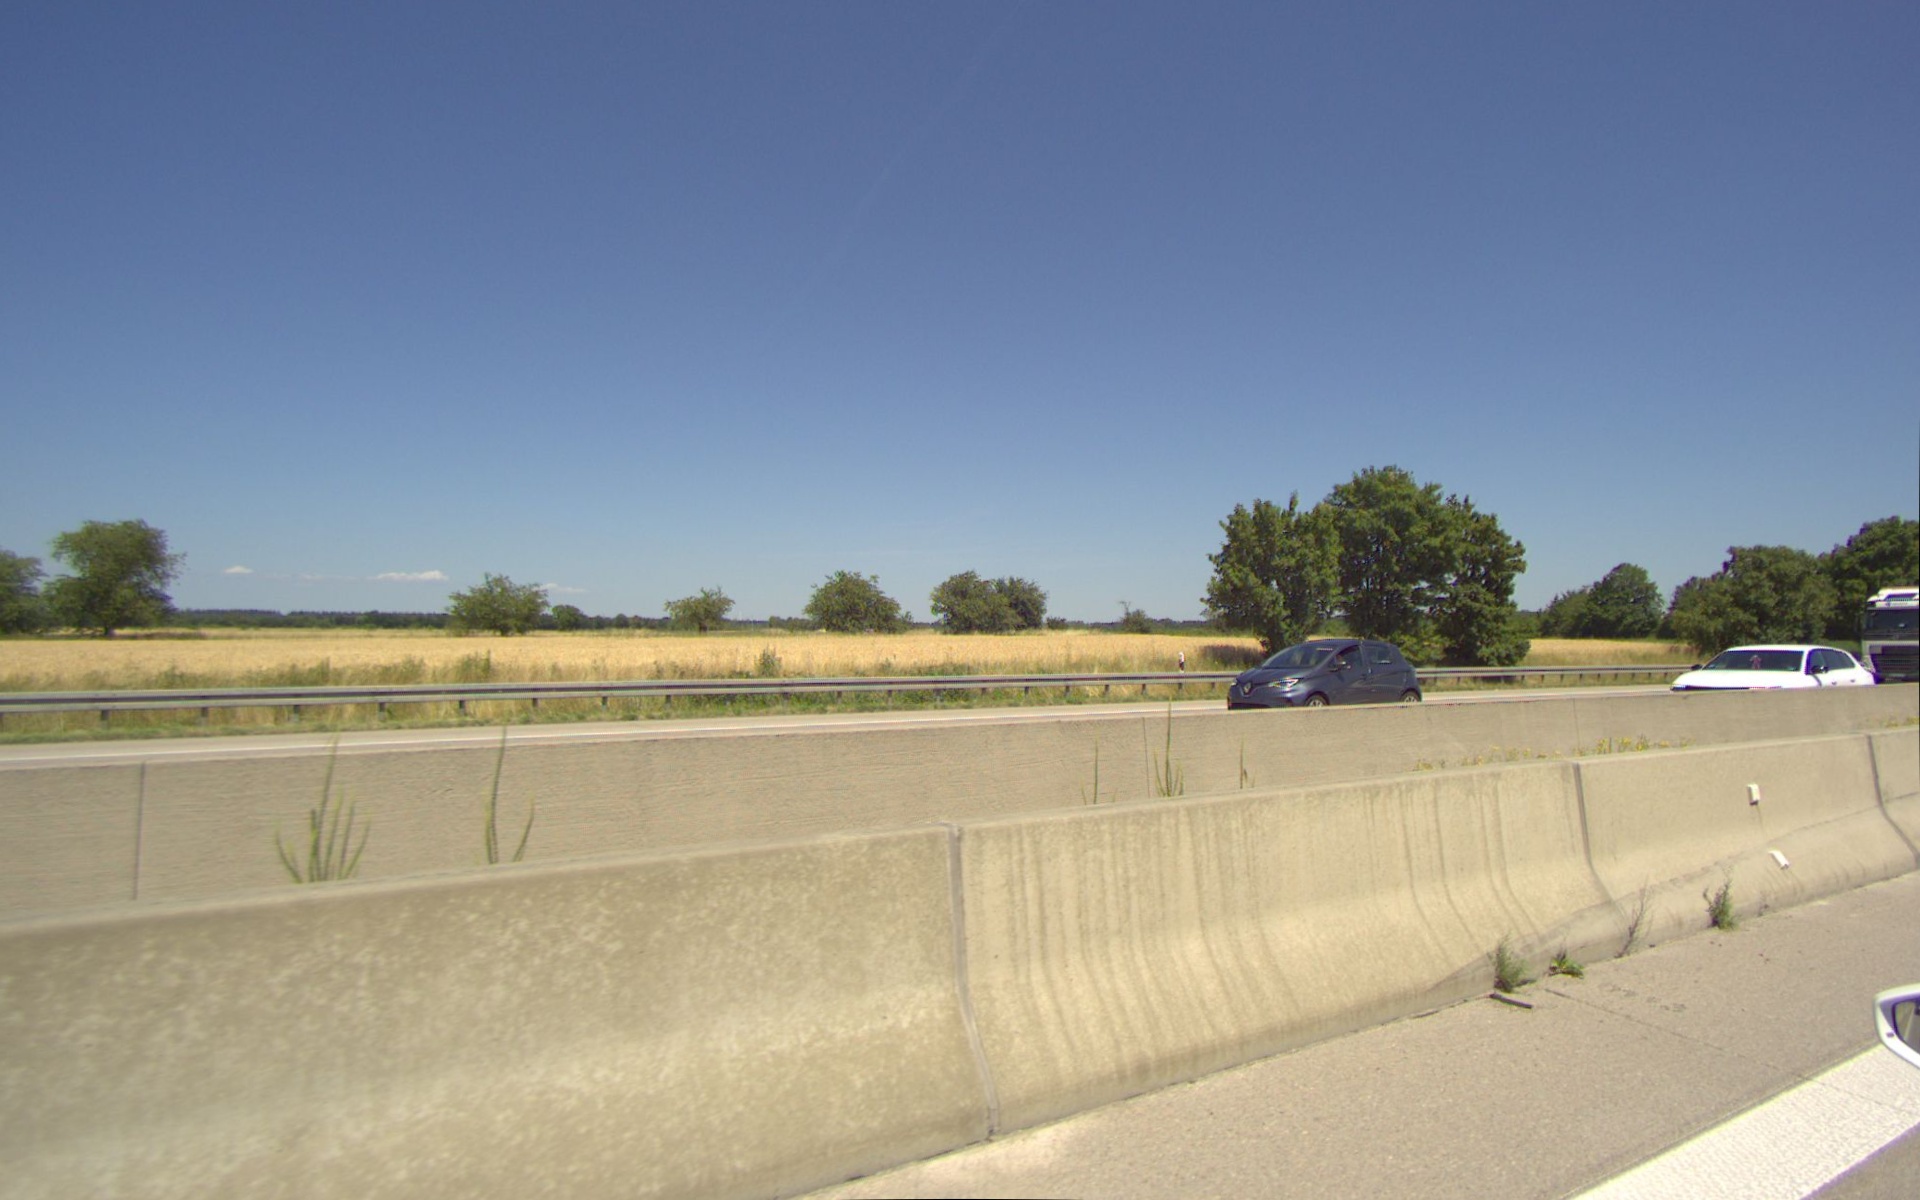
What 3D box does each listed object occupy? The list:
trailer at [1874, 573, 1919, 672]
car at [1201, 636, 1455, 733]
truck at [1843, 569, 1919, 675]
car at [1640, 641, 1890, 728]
[{"bbox_3d":[47.204,1.149,46.741,13.976,4.253,2.859,2,-3,-31],"label":"trailer"},{"bbox_3d":[6.786,1.479,18.434,4.460,1.580,1.985,1,-4,-31],"label":"car"},{"bbox_3d":[40.422,0.982,42.667,5.169,4.250,2.855,2,-3,-31],"label":"truck"},{"bbox_3d":[14.518,1.439,18.063,4.616,1.382,1.984,1,-3,-31],"label":"car"}]
